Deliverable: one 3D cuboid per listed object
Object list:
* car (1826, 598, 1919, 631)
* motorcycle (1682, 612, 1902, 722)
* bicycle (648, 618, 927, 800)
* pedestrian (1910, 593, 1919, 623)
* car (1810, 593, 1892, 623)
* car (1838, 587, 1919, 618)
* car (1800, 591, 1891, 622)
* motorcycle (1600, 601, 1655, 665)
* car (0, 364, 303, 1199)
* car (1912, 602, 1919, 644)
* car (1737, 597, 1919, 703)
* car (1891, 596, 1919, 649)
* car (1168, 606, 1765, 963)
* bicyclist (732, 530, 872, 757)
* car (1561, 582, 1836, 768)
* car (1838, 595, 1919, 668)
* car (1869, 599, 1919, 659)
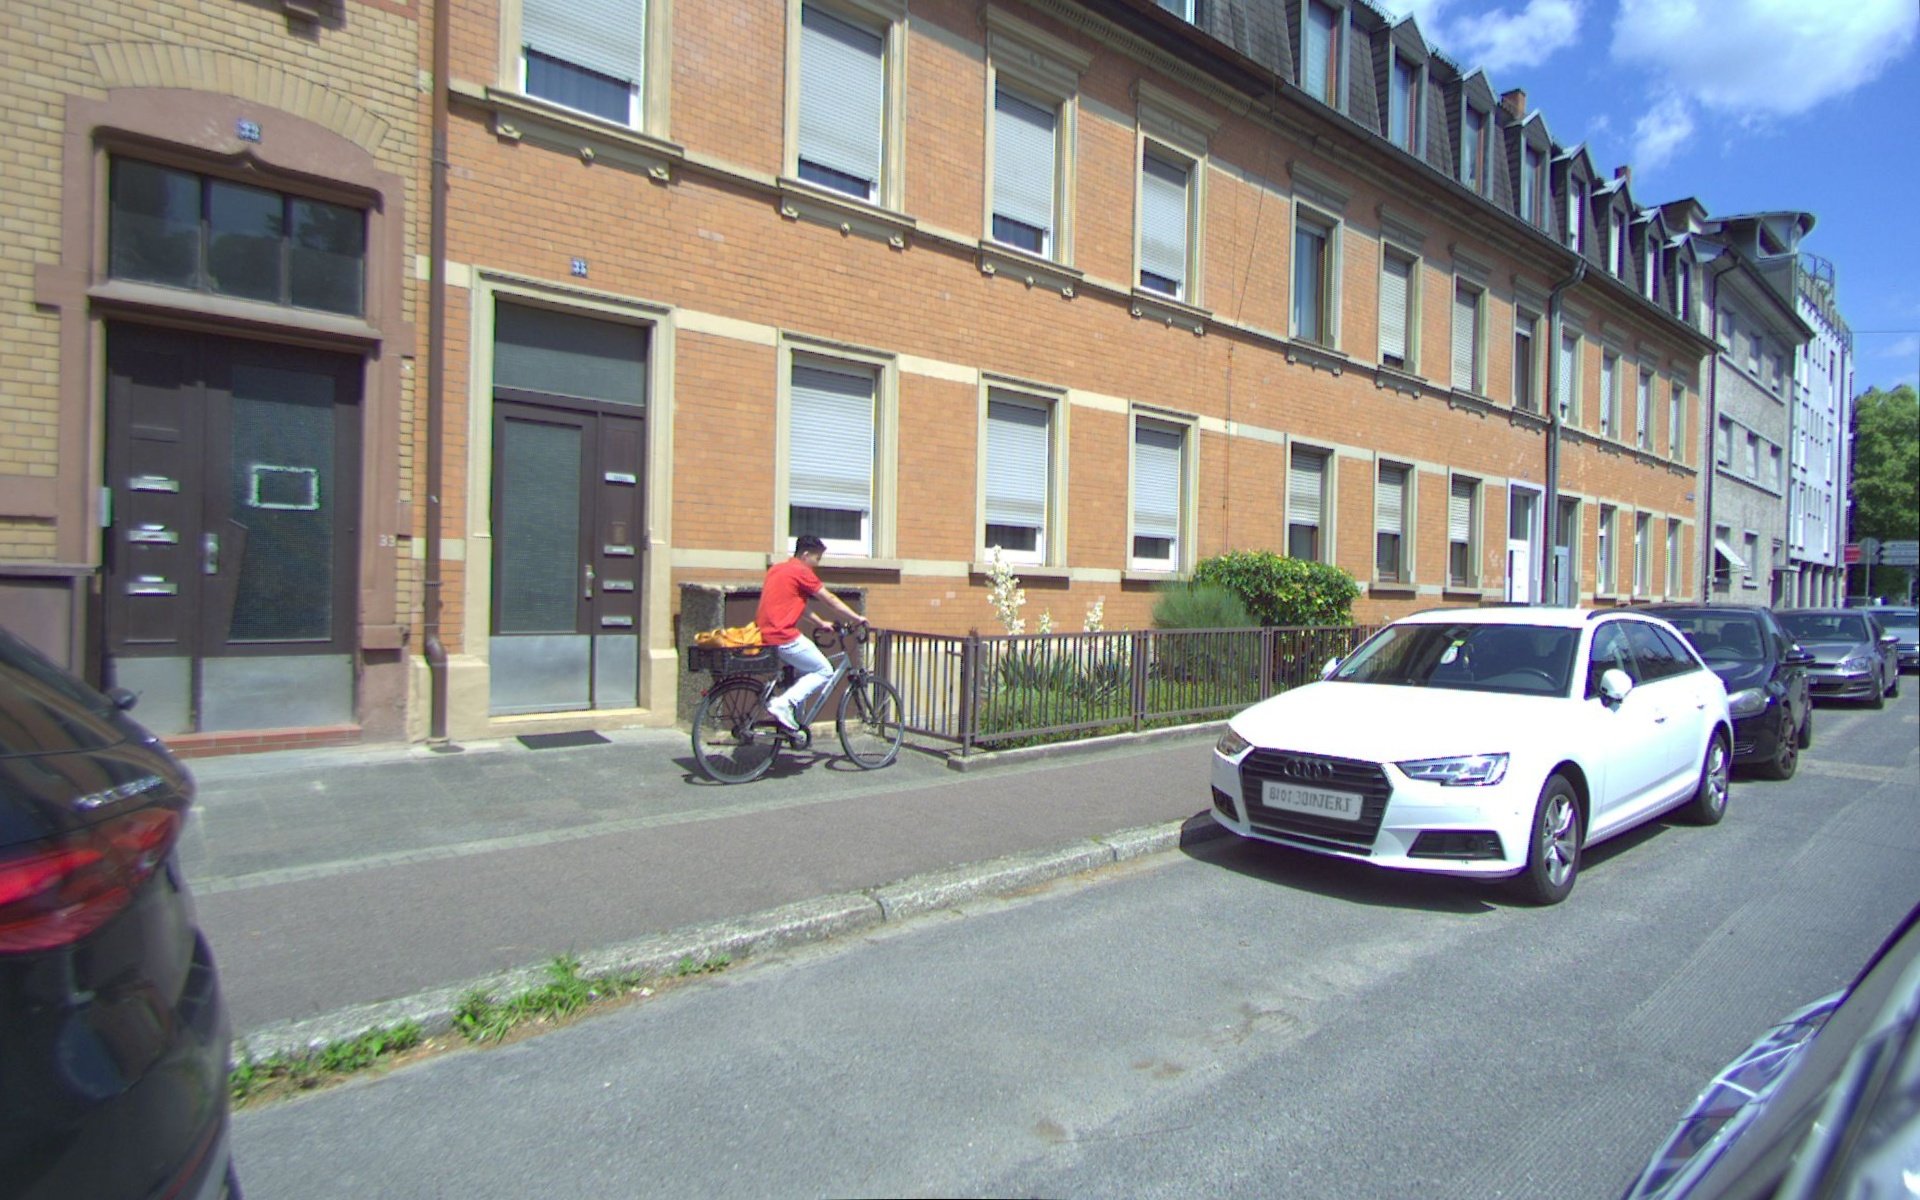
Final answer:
[{"bbox_3d":[43.413,0.669,47.121,1.967,1.382,4.584,1,1,-44],"label":"car"},{"bbox_3d":[10.419,0.795,12.799,1.091,1.240,1.997,0,0,-2],"label":"motorcycle"},{"bbox_3d":[-1.154,0.685,7.056,1.849,1.079,0.594,0,2,-40],"label":"bicycle"},{"bbox_3d":[57.309,0.465,60.535,0.725,1.786,0.617,0,0,-44],"label":"pedestrian"},{"bbox_3d":[55.334,0.448,62.882,3.763,1.688,1.638,3,2,43],"label":"car"},{"bbox_3d":[70.523,0.212,77.644,2.070,2.305,4.608,1,0,-42],"label":"car"},{"bbox_3d":[53.446,0.371,61.105,1.983,1.772,3.991,0,1,-43],"label":"car"},{"bbox_3d":[13.697,0.660,20.767,1.338,1.240,0.597,0,1,-41],"label":"motorcycle"},{"bbox_3d":[-3.275,0.517,0.676,4.543,1.682,1.998,0,2,-40],"label":"car"},{"bbox_3d":[35.359,0.804,36.265,4.075,1.473,1.678,0,0,-45],"label":"car"},{"bbox_3d":[13.496,0.673,15.657,4.096,1.398,1.702,0,1,-43],"label":"car"},{"bbox_3d":[29.133,0.668,30.105,4.362,1.491,1.714,0,2,-42],"label":"car"},{"bbox_3d":[3.436,0.798,6.405,4.508,1.432,1.720,0,2,-40],"label":"car"},{"bbox_3d":[-1.104,0.276,7.085,0.776,1.487,0.534,1,1,-40],"label":"bicyclist"},{"bbox_3d":[7.481,0.568,10.059,1.648,1.432,4.431,1,1,43],"label":"car"},{"bbox_3d":[21.093,0.643,22.874,1.852,1.481,4.482,1,1,41],"label":"car"},{"bbox_3d":[24.867,0.728,26.291,1.652,1.438,3.983,2,1,45],"label":"car"}]
